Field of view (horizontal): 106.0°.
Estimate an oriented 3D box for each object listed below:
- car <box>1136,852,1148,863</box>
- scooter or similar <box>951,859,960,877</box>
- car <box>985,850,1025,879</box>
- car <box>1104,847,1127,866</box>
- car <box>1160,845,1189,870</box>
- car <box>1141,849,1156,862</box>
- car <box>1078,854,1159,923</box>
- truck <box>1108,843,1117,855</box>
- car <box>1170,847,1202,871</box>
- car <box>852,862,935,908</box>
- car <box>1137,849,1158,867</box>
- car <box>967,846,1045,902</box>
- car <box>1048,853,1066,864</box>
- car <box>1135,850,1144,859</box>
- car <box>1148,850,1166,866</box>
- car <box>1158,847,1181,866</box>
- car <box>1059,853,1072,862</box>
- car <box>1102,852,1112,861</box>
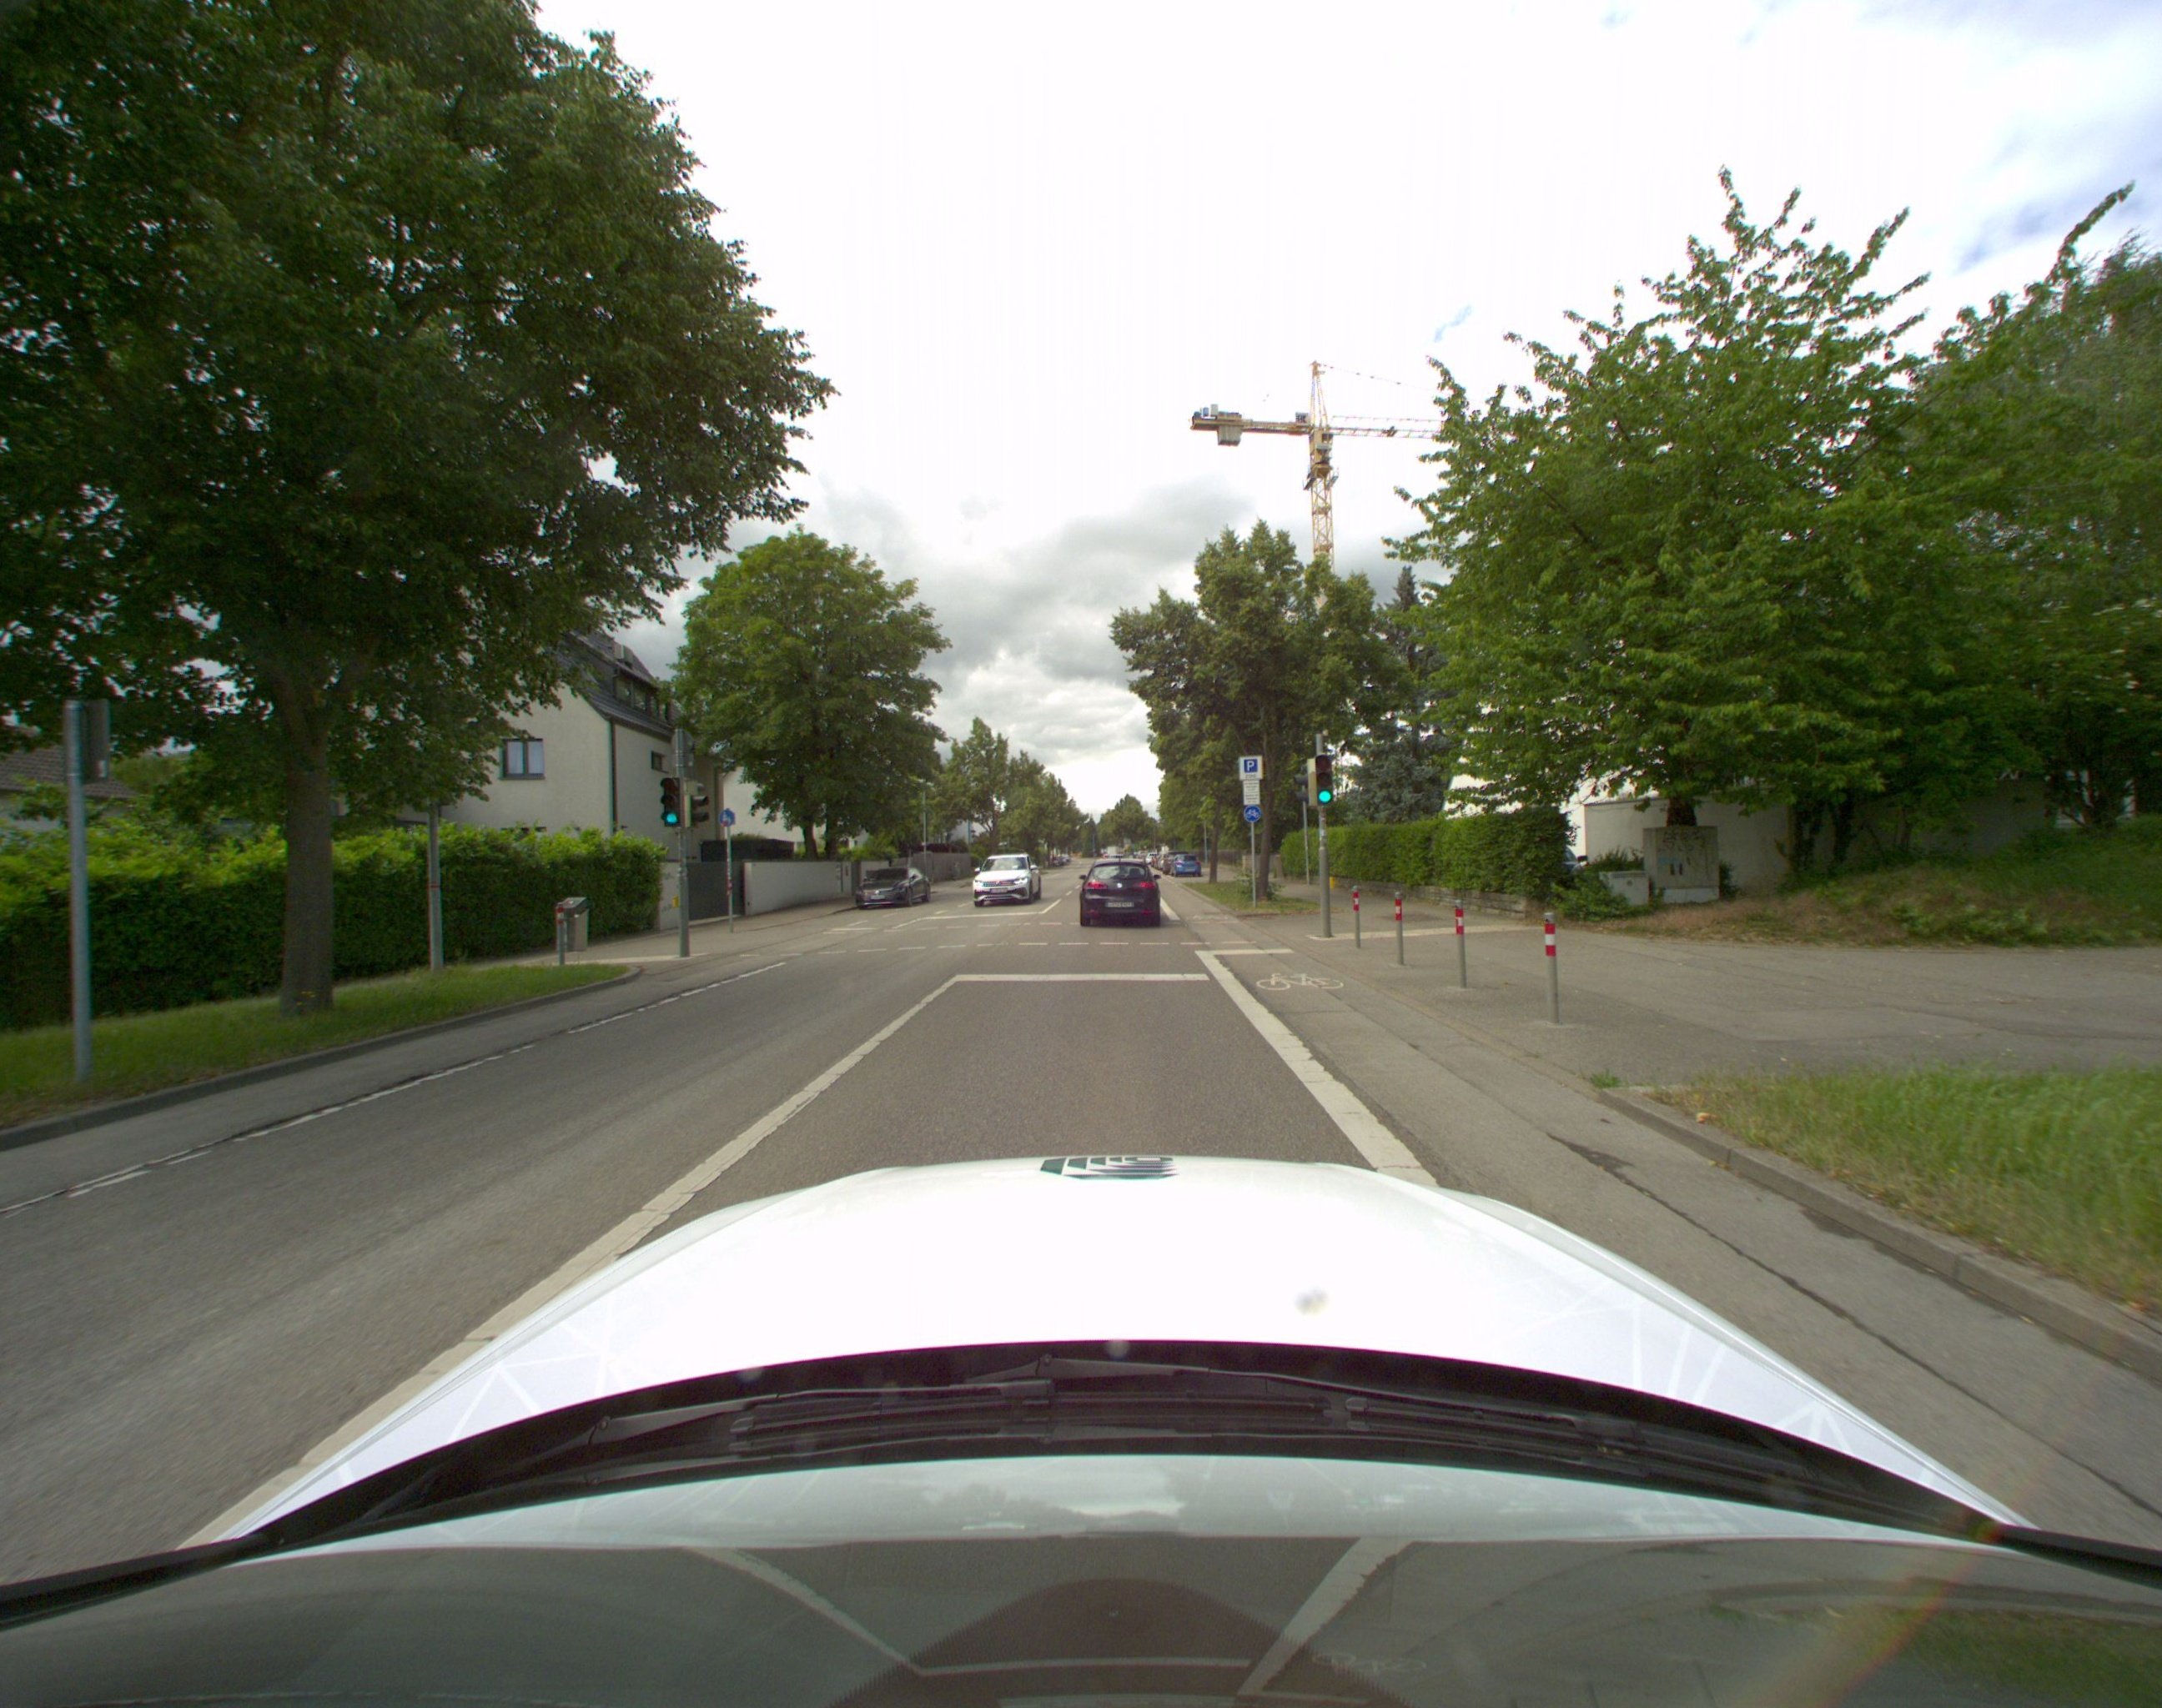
[{"bbox_3d":[9.400,0.535,125.956,1.682,1.564,4.215,-1,0,2],"label":"car"},{"bbox_3d":[-8.588,0.961,55.614,0.386,1.230,1.497,-1,0,-2],"label":"scooter or similar"},{"bbox_3d":[-5.437,0.703,59.215,2.092,1.896,5.786,-3,0,2],"label":"car"},{"bbox_3d":[2.842,0.217,67.408,1.839,1.510,3.814,0,0,3],"label":"car"},{"bbox_3d":[6.682,0.257,58.337,1.681,1.711,4.215,-1,0,2],"label":"car"},{"bbox_3d":[8.416,0.189,101.592,1.682,1.564,4.215,-1,0,2],"label":"car"},{"bbox_3d":[0.799,0.710,18.580,1.657,1.401,3.812,0,0,1],"label":"car"},{"bbox_3d":[8.453,-1.309,220.683,2.270,3.104,8.512,0,0,1],"label":"truck"},{"bbox_3d":[6.797,0.326,53.026,1.682,1.490,3.356,-1,0,2],"label":"car"},{"bbox_3d":[-6.753,1.057,29.824,1.711,1.395,4.803,-3,0,2],"label":"car"},{"bbox_3d":[6.087,0.349,75.178,1.682,1.564,4.215,-1,0,2],"label":"car"},{"bbox_3d":[-2.423,0.611,27.355,1.867,1.635,4.345,-3,0,4],"label":"car"},{"bbox_3d":[-3.377,0.623,116.197,2.092,1.506,5.786,-3,0,2],"label":"car"},{"bbox_3d":[12.227,0.104,169.223,1.681,1.875,4.215,-1,0,2],"label":"car"},{"bbox_3d":[7.977,0.386,85.884,1.682,1.564,4.215,-1,0,2],"label":"car"},{"bbox_3d":[7.676,0.248,70.817,1.682,1.564,4.215,-1,0,2],"label":"car"},{"bbox_3d":[-2.811,0.674,148.951,2.092,1.506,5.786,-3,0,2],"label":"car"},{"bbox_3d":[5.157,0.482,161.615,1.874,1.689,4.215,-1,0,2],"label":"car"}]
